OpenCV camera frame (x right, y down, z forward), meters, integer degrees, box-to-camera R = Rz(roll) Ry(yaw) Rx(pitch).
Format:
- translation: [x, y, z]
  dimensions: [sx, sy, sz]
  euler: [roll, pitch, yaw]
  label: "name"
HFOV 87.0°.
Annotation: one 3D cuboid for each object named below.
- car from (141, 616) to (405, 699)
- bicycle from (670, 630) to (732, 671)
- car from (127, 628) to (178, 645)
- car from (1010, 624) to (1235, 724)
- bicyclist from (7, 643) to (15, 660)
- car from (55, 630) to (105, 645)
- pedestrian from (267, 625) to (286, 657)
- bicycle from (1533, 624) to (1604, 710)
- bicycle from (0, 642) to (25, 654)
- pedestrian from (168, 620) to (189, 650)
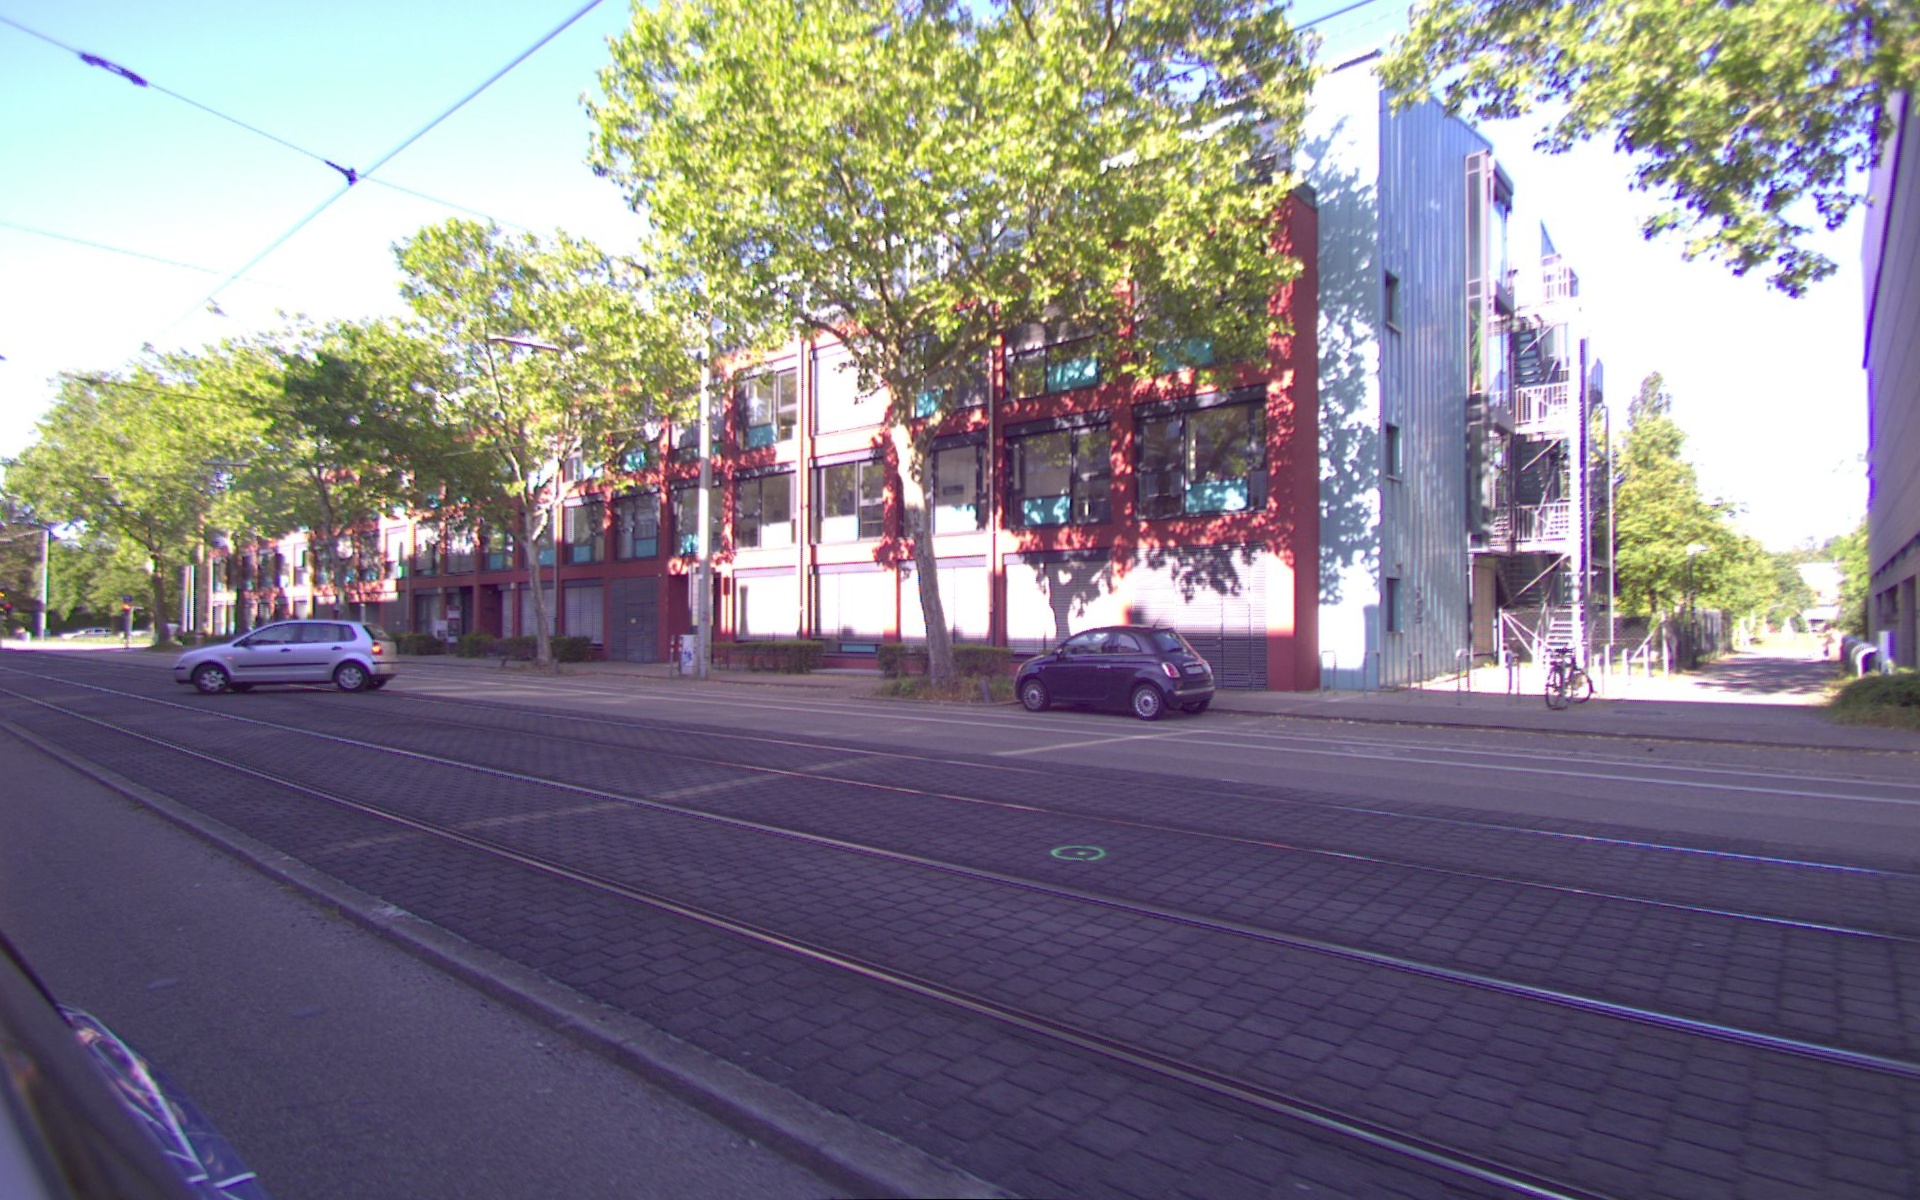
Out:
- translation: [-13.673, 1.169, 20.410]
  dimensions: [4.002, 1.530, 1.763]
  euler: [2, -3, -15]
  label: "car"
- translation: [-9.002, 1.734, 35.191]
  dimensions: [0.619, 1.282, 2.039]
  euler: [-2, -1, 45]
  label: "bicycle"
- translation: [-90.596, 4.114, 113.626]
  dimensions: [1.817, 1.881, 4.254]
  euler: [-2, -2, 43]
  label: "car"
- translation: [2.665, 1.176, 17.021]
  dimensions: [3.463, 1.465, 1.491]
  euler: [-2, -1, 42]
  label: "car"
- translation: [-97.190, 5.277, 103.663]
  dimensions: [0.551, 1.635, 0.899]
  euler: [1, -2, -41]
  label: "bicyclist"
- translation: [-93.116, 3.958, 107.140]
  dimensions: [3.940, 1.444, 1.818]
  euler: [1, -3, -44]
  label: "car"
- translation: [-38.414, 2.290, 56.900]
  dimensions: [0.900, 1.731, 0.619]
  euler: [-1, 0, 40]
  label: "pedestrian"
- translation: [10.176, 1.079, 16.894]
  dimensions: [0.664, 1.288, 1.987]
  euler: [-2, -1, 41]
  label: "bicycle"
- translation: [-97.267, 4.912, 103.610]
  dimensions: [2.252, 1.126, 0.931]
  euler: [1, -2, -42]
  label: "bicycle"
- translation: [-54.025, 2.399, 69.936]
  dimensions: [0.778, 2.029, 0.903]
  euler: [-2, -1, 32]
  label: "pedestrian"
